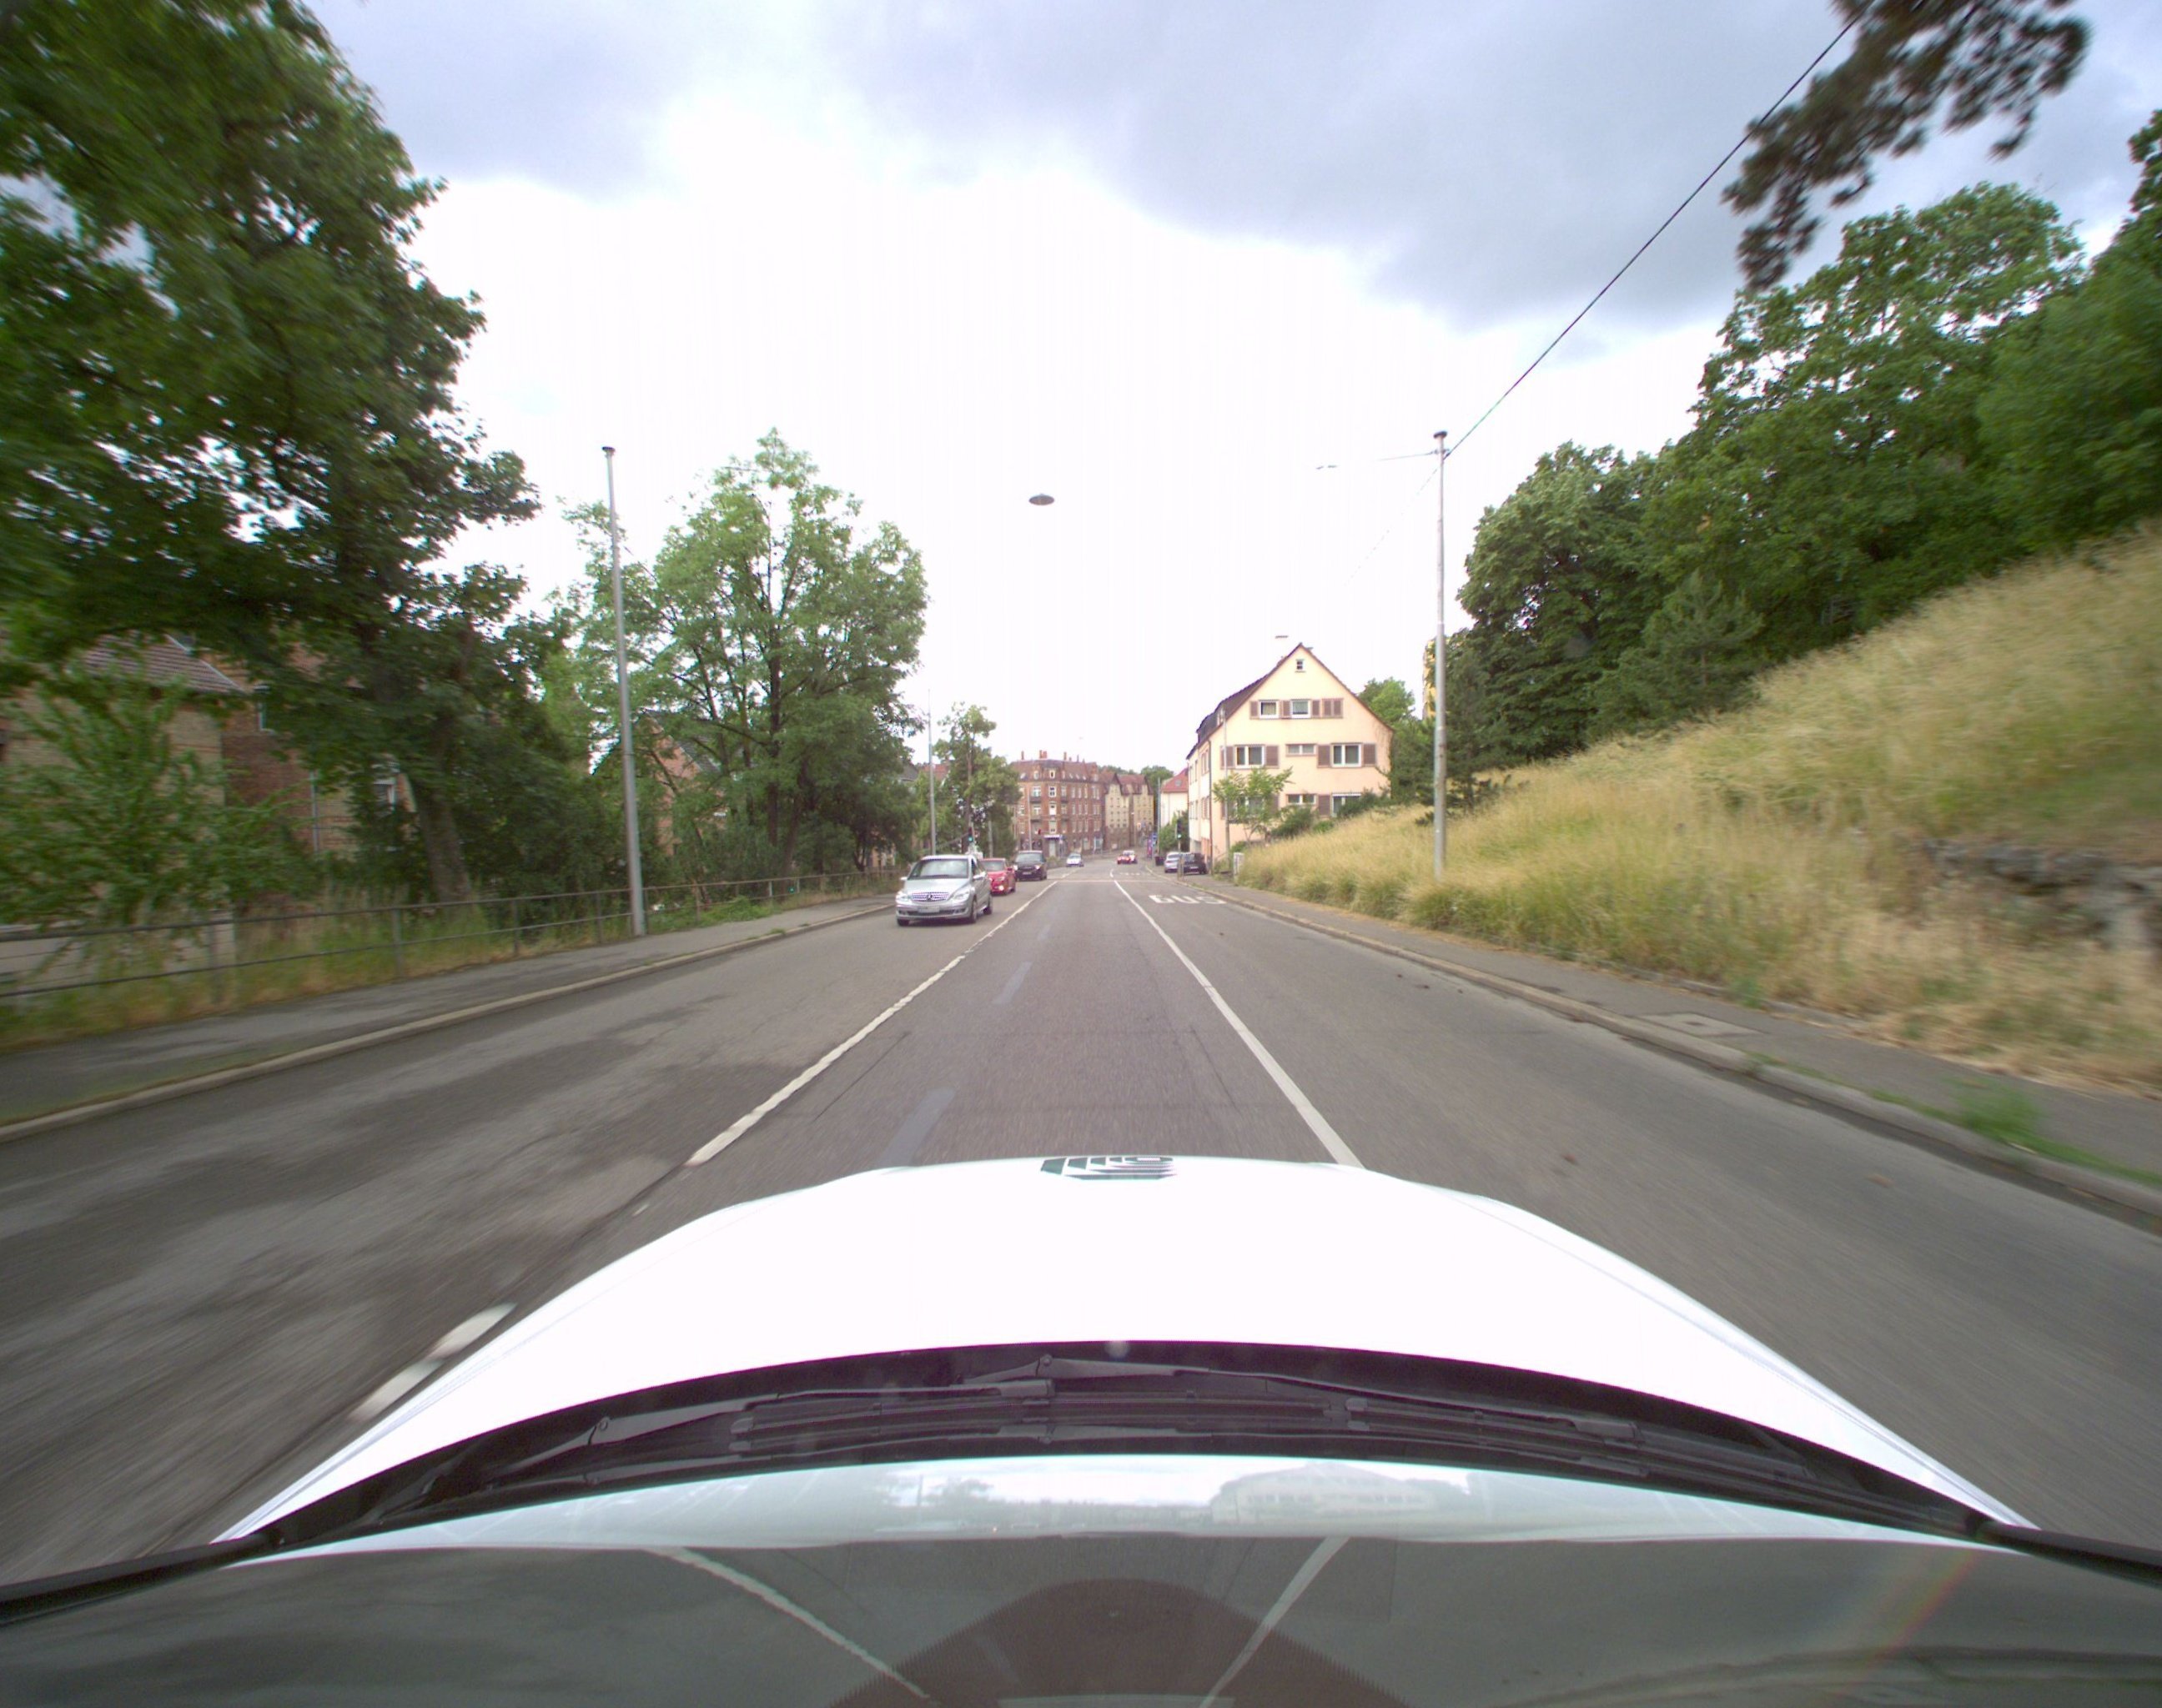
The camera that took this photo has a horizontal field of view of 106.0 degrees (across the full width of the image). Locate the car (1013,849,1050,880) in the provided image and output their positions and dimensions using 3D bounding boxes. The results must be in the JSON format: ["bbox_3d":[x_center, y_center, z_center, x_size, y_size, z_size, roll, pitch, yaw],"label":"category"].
[{"bbox_3d":[-2.928,0.585,48.923,1.777,1.746,4.430,-2,0,2],"label":"car"}]

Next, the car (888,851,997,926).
[{"bbox_3d":[-3.255,0.755,19.969,1.777,1.574,4.282,-2,0,1],"label":"car"}]

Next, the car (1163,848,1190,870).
[{"bbox_3d":[7.258,0.369,62.107,1.786,1.451,4.725,-4,1,5],"label":"car"}]

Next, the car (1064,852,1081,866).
[{"bbox_3d":[-0.962,0.546,94.816,1.714,1.444,4.160,-2,0,1],"label":"car"}]

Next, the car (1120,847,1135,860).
[{"bbox_3d":[6.870,-0.129,120.265,1.899,1.884,4.007,0,0,6],"label":"car"}]

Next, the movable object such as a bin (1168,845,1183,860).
[{"bbox_3d":[9.319,-0.124,80.322,1.049,1.445,1.412,-1,0,-13],"label":"movable object such as a bin"}]

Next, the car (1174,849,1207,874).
[{"bbox_3d":[7.106,0.455,53.191,1.675,1.451,4.001,-5,0,2],"label":"car"}]

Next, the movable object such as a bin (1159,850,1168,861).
[{"bbox_3d":[8.475,0.162,83.419,0.743,1.058,0.676,-1,-1,-14],"label":"movable object such as a bin"}]

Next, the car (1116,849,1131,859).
[{"bbox_3d":[5.919,-0.006,113.538,1.807,1.430,4.007,0,1,6],"label":"car"}]

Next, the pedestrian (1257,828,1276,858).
[{"bbox_3d":[10.487,-0.632,46.018,0.884,1.696,0.872,0,0,-2],"label":"pedestrian"}]

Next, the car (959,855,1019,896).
[{"bbox_3d":[-3.659,0.800,33.007,1.777,1.459,4.429,-2,0,1],"label":"car"}]
